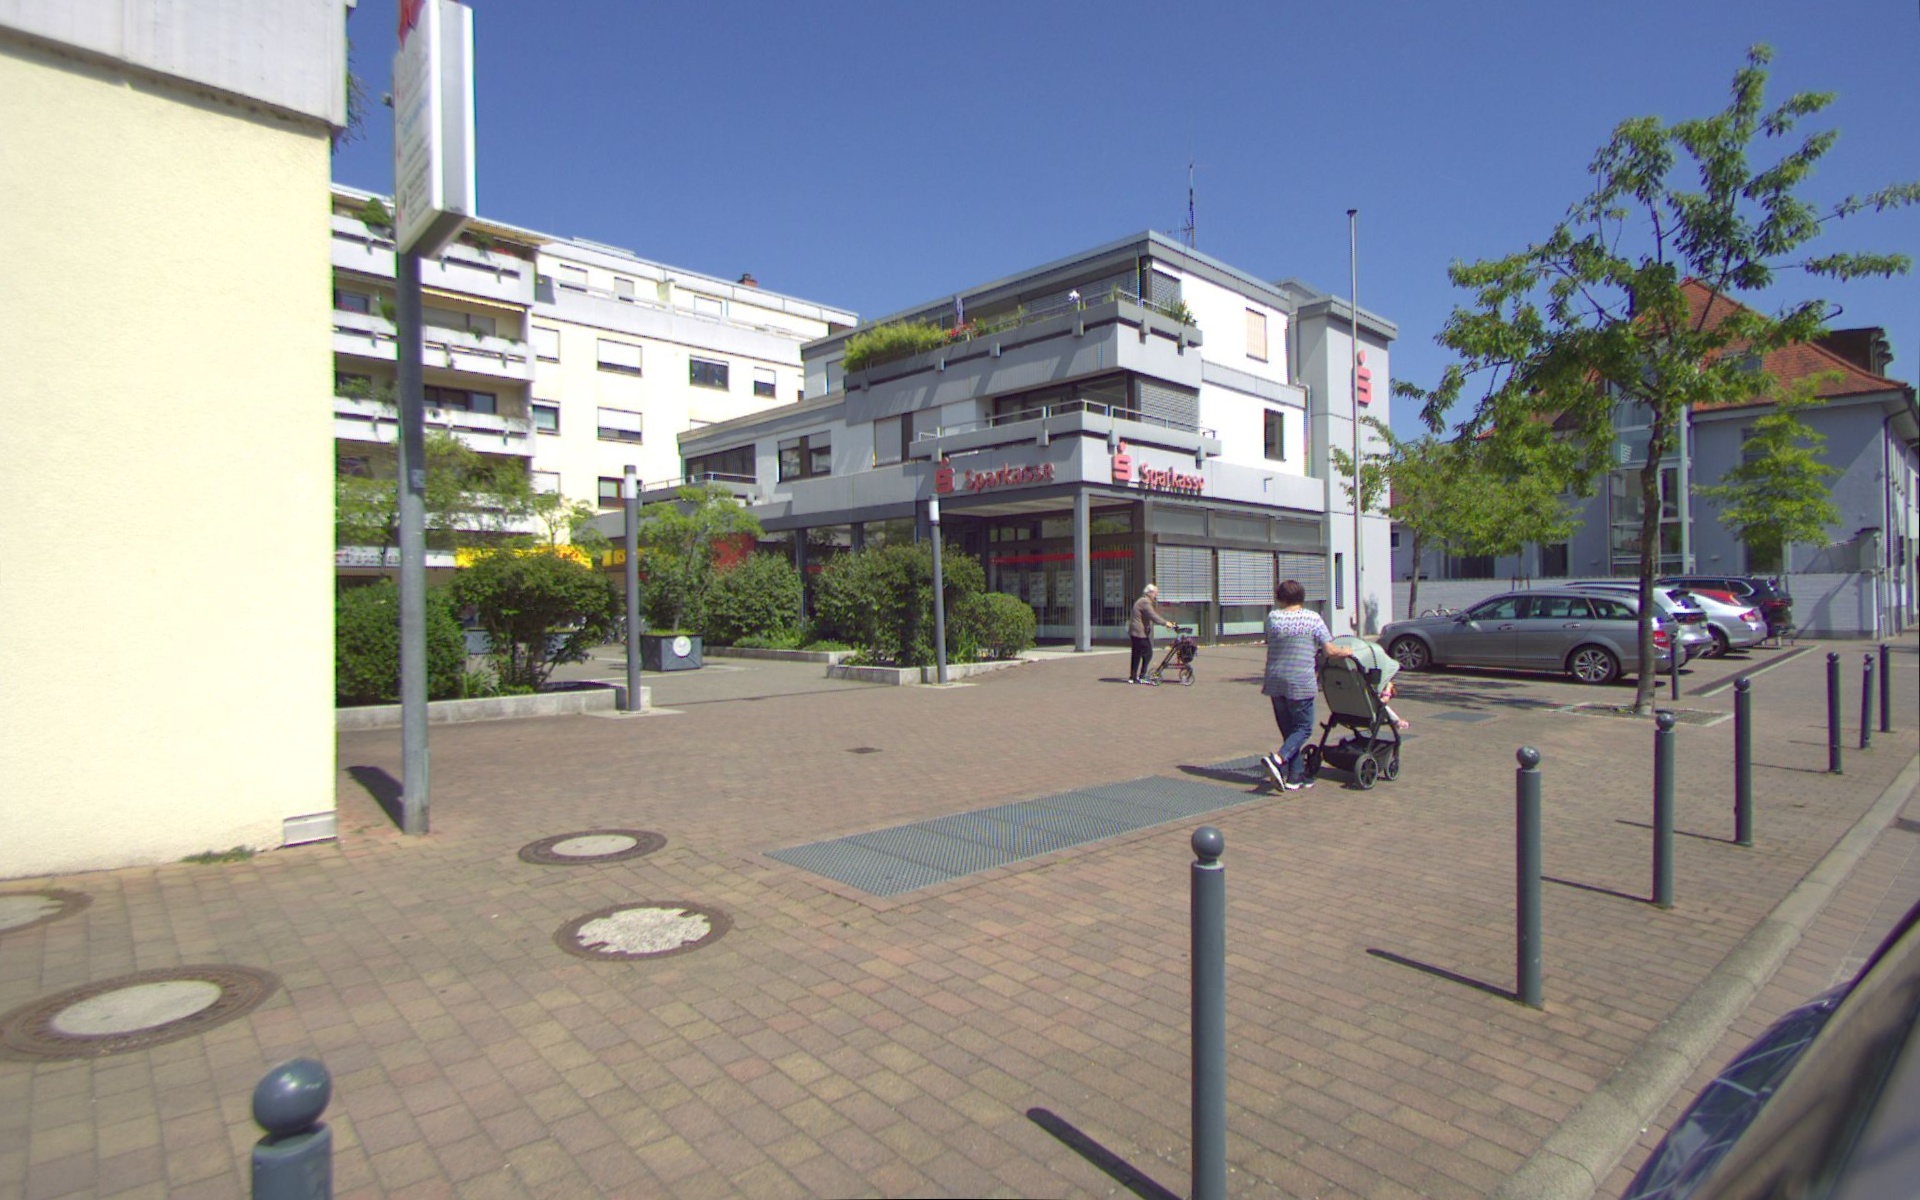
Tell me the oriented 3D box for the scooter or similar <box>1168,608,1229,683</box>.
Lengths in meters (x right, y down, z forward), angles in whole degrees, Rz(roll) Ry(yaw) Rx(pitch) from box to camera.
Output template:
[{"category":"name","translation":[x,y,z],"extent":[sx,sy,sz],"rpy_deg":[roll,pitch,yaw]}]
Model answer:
[{"category":"scooter or similar","translation":[3.564,0.667,15.098],"extent":[0.796,1.088,0.586],"rpy_deg":[-1,0,22]}]

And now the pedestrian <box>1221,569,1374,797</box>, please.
[{"category":"pedestrian","translation":[2.448,0.559,7.351],"extent":[0.786,1.540,0.706],"rpy_deg":[0,-1,-36]}]

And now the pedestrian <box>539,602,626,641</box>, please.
[{"category":"pedestrian","translation":[-13.199,0.721,35.440],"extent":[0.982,1.290,2.736],"rpy_deg":[-1,0,40]}]

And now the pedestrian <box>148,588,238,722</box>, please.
[{"category":"pedestrian","translation":[-9.059,0.628,11.979],"extent":[0.606,1.516,0.813],"rpy_deg":[-1,0,-17]}]

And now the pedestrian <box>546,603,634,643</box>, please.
[{"category":"pedestrian","translation":[-12.682,0.752,34.766],"extent":[0.982,1.290,2.736],"rpy_deg":[-1,0,40]}]

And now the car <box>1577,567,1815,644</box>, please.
[{"category":"car","translation":[18.735,0.072,25.924],"extent":[2.112,1.793,4.635],"rpy_deg":[0,1,-43]}]

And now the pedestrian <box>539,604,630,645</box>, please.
[{"category":"pedestrian","translation":[-12.433,0.784,33.588],"extent":[0.982,1.290,2.736],"rpy_deg":[-1,0,40]}]

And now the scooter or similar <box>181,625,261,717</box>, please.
[{"category":"scooter or similar","translation":[-9.287,0.871,12.742],"extent":[0.578,1.088,0.807],"rpy_deg":[-1,0,-17]}]

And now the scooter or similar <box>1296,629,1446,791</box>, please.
[{"category":"scooter or similar","translation":[3.186,0.807,7.833],"extent":[1.024,1.120,0.627],"rpy_deg":[-1,0,-37]}]

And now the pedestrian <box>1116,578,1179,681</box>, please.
[{"category":"pedestrian","translation":[2.855,0.437,15.398],"extent":[0.802,1.516,0.664],"rpy_deg":[-1,-1,23]}]

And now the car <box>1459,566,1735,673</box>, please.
[{"category":"car","translation":[11.759,0.252,18.861],"extent":[1.827,1.592,3.991],"rpy_deg":[-2,5,-44]}]

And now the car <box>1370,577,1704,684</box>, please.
[{"category":"car","translation":[9.535,0.392,16.980],"extent":[4.575,1.531,1.887],"rpy_deg":[2,2,43]}]

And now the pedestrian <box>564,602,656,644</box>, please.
[{"category":"pedestrian","translation":[-11.390,0.727,32.999],"extent":[0.982,1.290,2.736],"rpy_deg":[-1,0,40]}]
